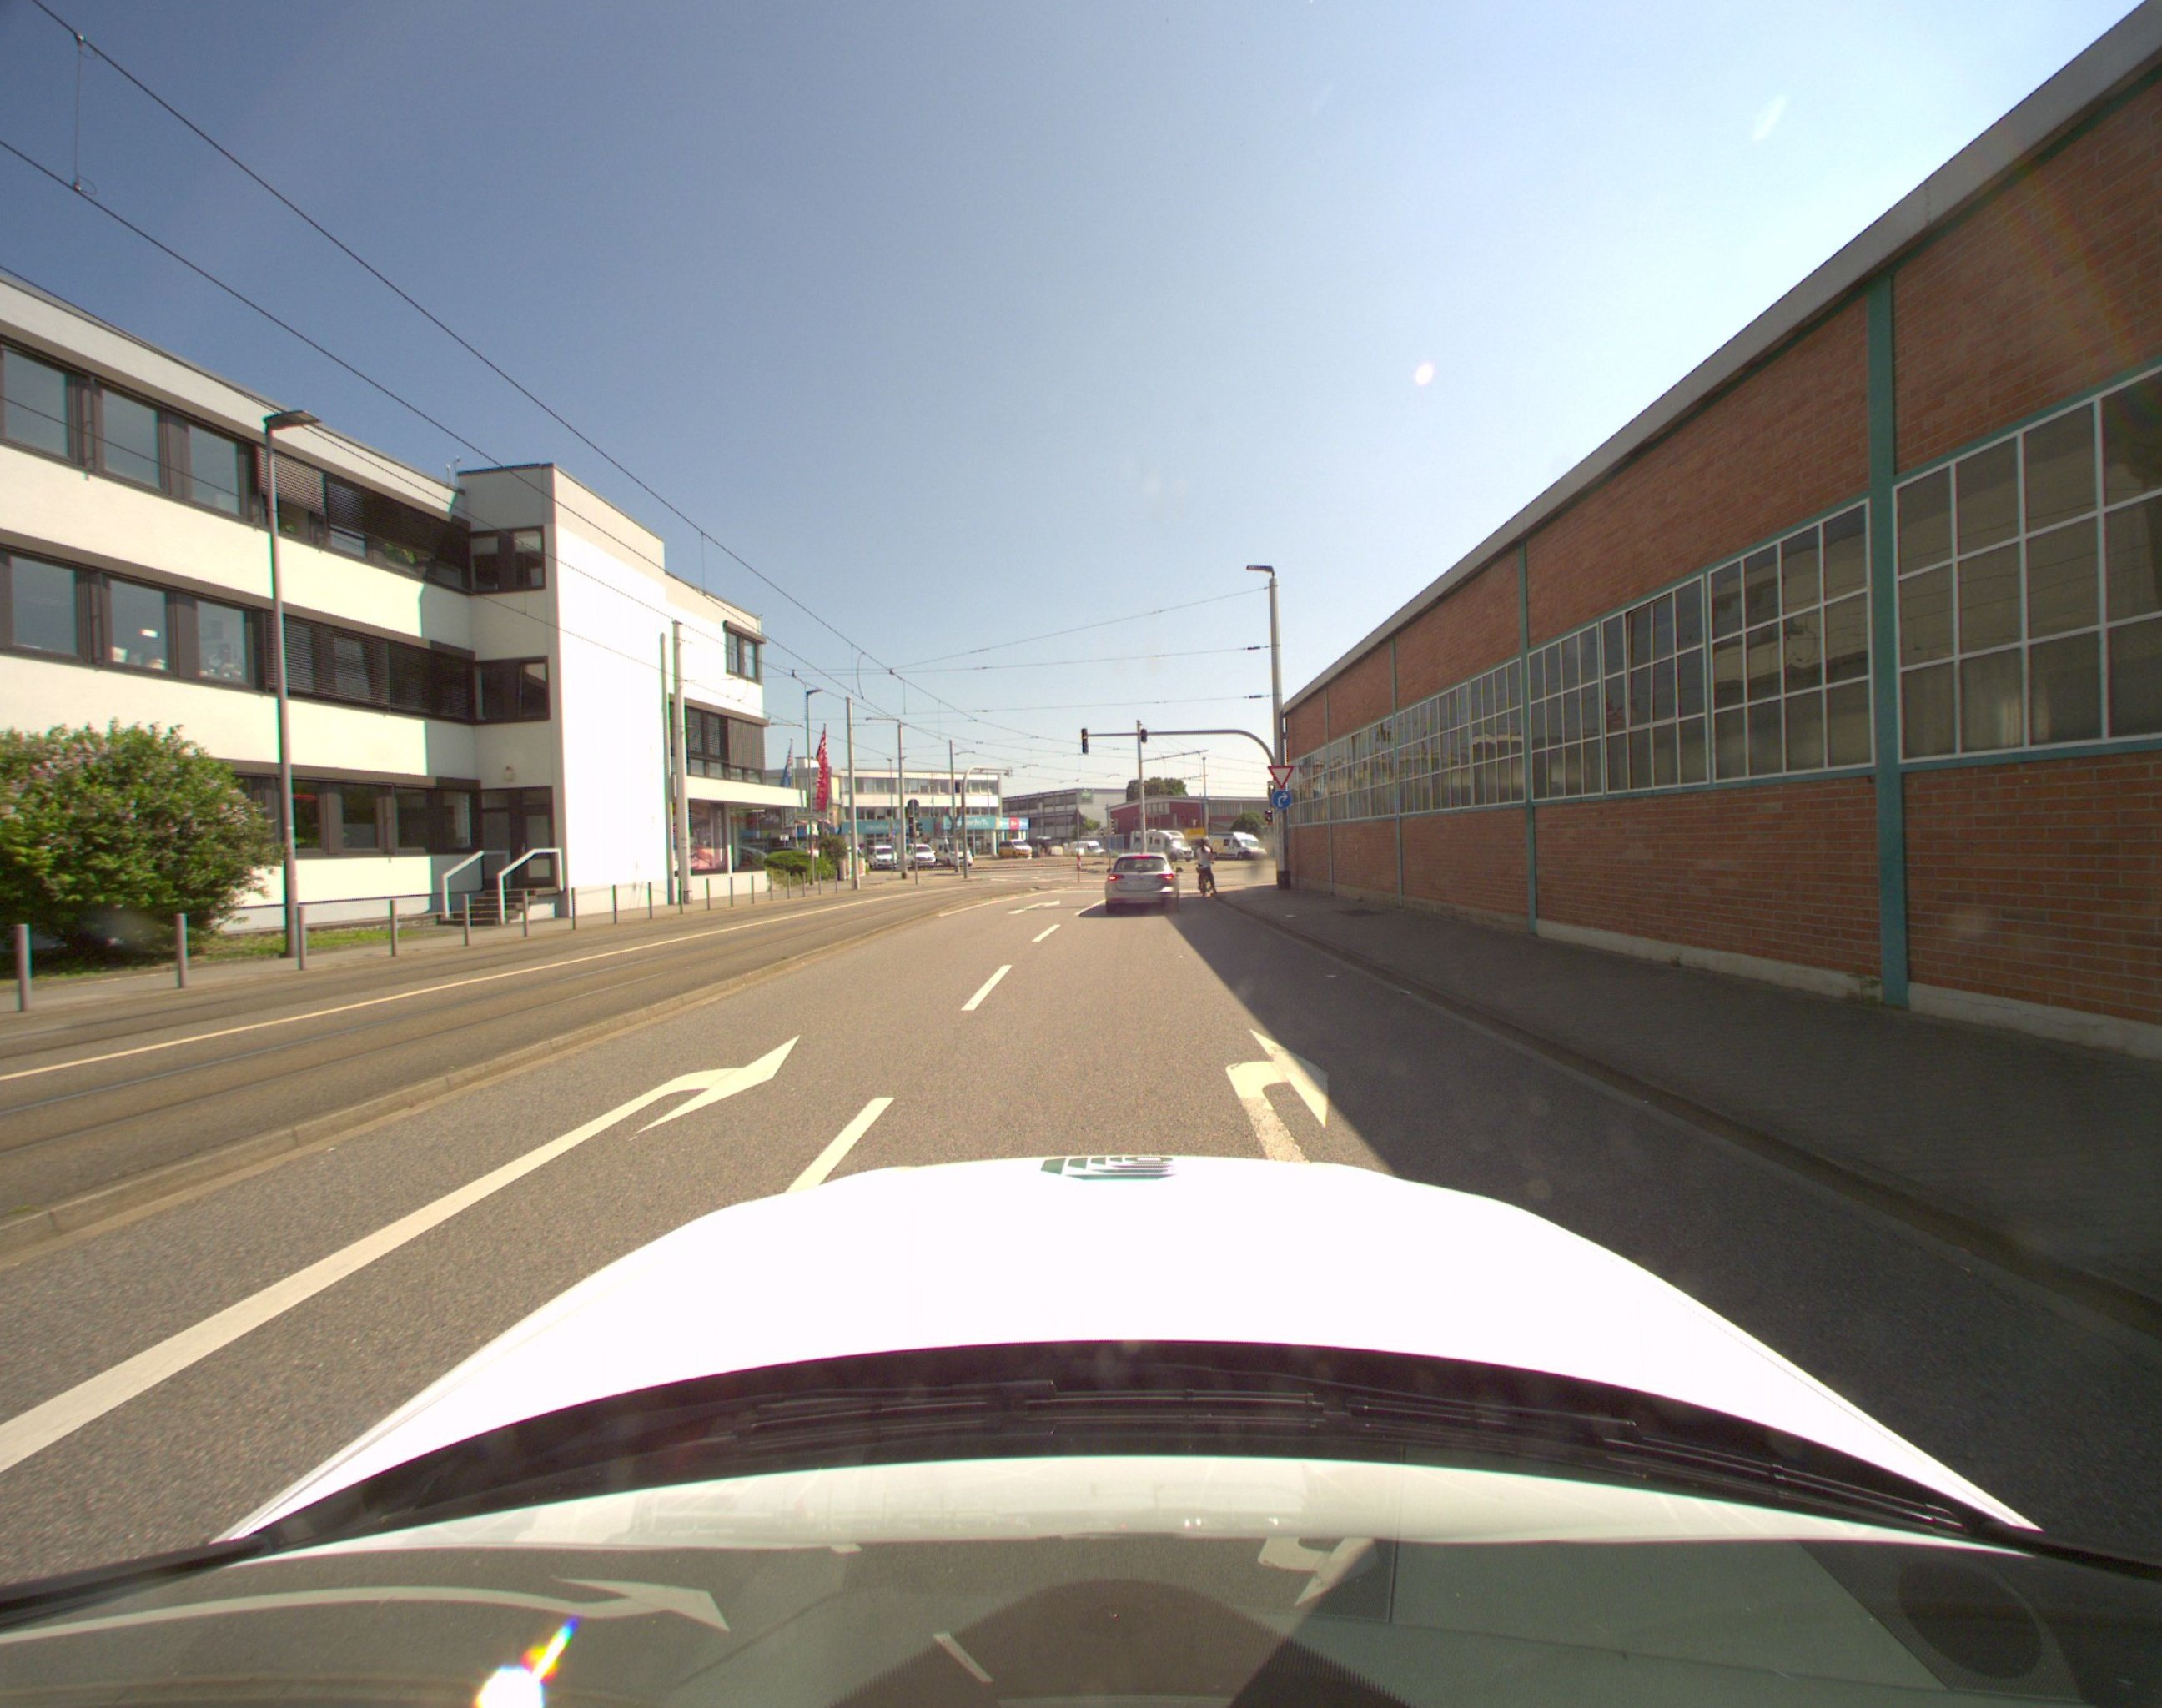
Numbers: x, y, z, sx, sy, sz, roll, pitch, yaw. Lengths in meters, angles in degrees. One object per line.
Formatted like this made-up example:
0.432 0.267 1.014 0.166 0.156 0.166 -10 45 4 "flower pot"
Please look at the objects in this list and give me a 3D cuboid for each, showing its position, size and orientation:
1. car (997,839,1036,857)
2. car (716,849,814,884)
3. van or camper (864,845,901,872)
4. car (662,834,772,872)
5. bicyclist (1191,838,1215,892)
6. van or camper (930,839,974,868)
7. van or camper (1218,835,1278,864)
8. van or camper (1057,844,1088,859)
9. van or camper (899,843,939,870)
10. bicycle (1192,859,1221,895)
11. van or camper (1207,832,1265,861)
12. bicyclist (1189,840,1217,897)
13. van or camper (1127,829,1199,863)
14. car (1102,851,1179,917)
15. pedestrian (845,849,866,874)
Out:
-6.757 -0.611 84.600 1.951 1.759 5.072 -2 0 -31 "car"
-15.586 0.609 40.322 3.968 1.518 2.003 -1 2 5 "car"
-16.944 0.361 69.373 2.005 2.013 4.720 -3 3 -27 "van or camper"
-16.214 -0.051 36.402 3.968 1.563 2.003 -1 0 5 "car"
4.134 0.362 27.731 0.704 1.810 0.984 -1 0 5 "bicyclist"
-11.301 -0.126 71.047 2.043 2.295 5.761 -3 3 -27 "van or camper"
16.443 -0.519 80.334 2.299 2.611 5.831 -3 3 -34 "van or camper"
-1.115 -0.345 110.801 2.011 1.947 3.951 -2 0 -44 "van or camper"
-13.911 0.182 69.732 2.005 2.013 4.966 -3 3 -27 "van or camper"
3.918 0.700 25.474 0.790 1.021 2.154 -1 0 6 "bicycle"
14.519 -0.716 76.535 2.299 2.439 5.331 -3 4 -34 "van or camper"
3.806 0.435 25.423 0.782 1.721 1.149 -1 0 6 "bicyclist"
7.558 -0.796 75.928 2.366 2.930 6.905 -3 3 -40 "van or camper"
1.573 0.696 20.929 1.738 1.459 4.006 -2 0 5 "car"
-13.865 0.453 50.109 1.129 1.455 0.835 -1 0 -7 "pedestrian"
